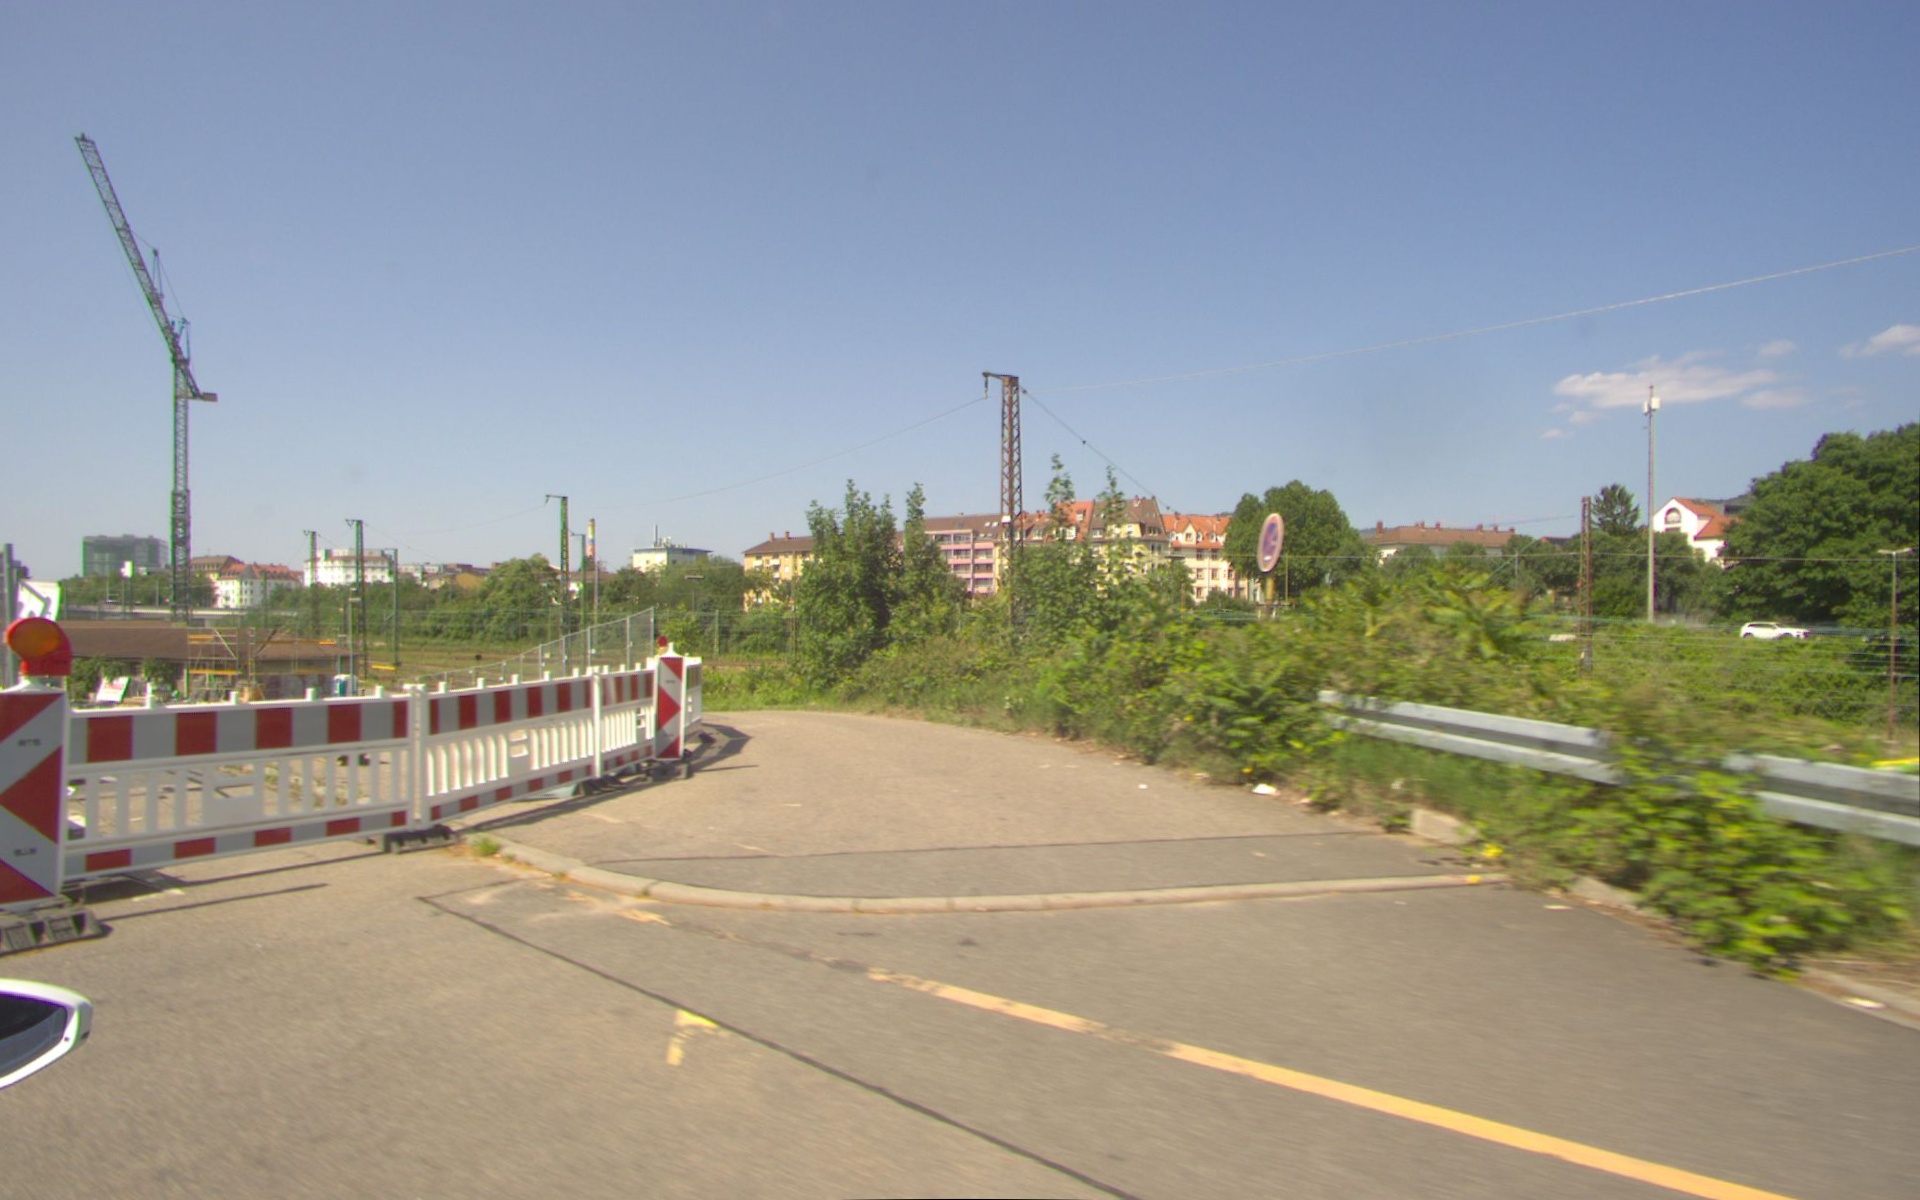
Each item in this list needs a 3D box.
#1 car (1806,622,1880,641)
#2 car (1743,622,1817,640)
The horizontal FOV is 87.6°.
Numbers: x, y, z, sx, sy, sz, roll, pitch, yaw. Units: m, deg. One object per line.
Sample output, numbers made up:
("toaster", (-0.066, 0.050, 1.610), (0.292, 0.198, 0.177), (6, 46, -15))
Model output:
("car", (66.693, 2.397, 75.682), (1.752, 1.384, 3.835), (0, -1, -19))
("car", (65.402, 2.491, 79.942), (1.833, 1.384, 4.308), (0, -1, -18))
